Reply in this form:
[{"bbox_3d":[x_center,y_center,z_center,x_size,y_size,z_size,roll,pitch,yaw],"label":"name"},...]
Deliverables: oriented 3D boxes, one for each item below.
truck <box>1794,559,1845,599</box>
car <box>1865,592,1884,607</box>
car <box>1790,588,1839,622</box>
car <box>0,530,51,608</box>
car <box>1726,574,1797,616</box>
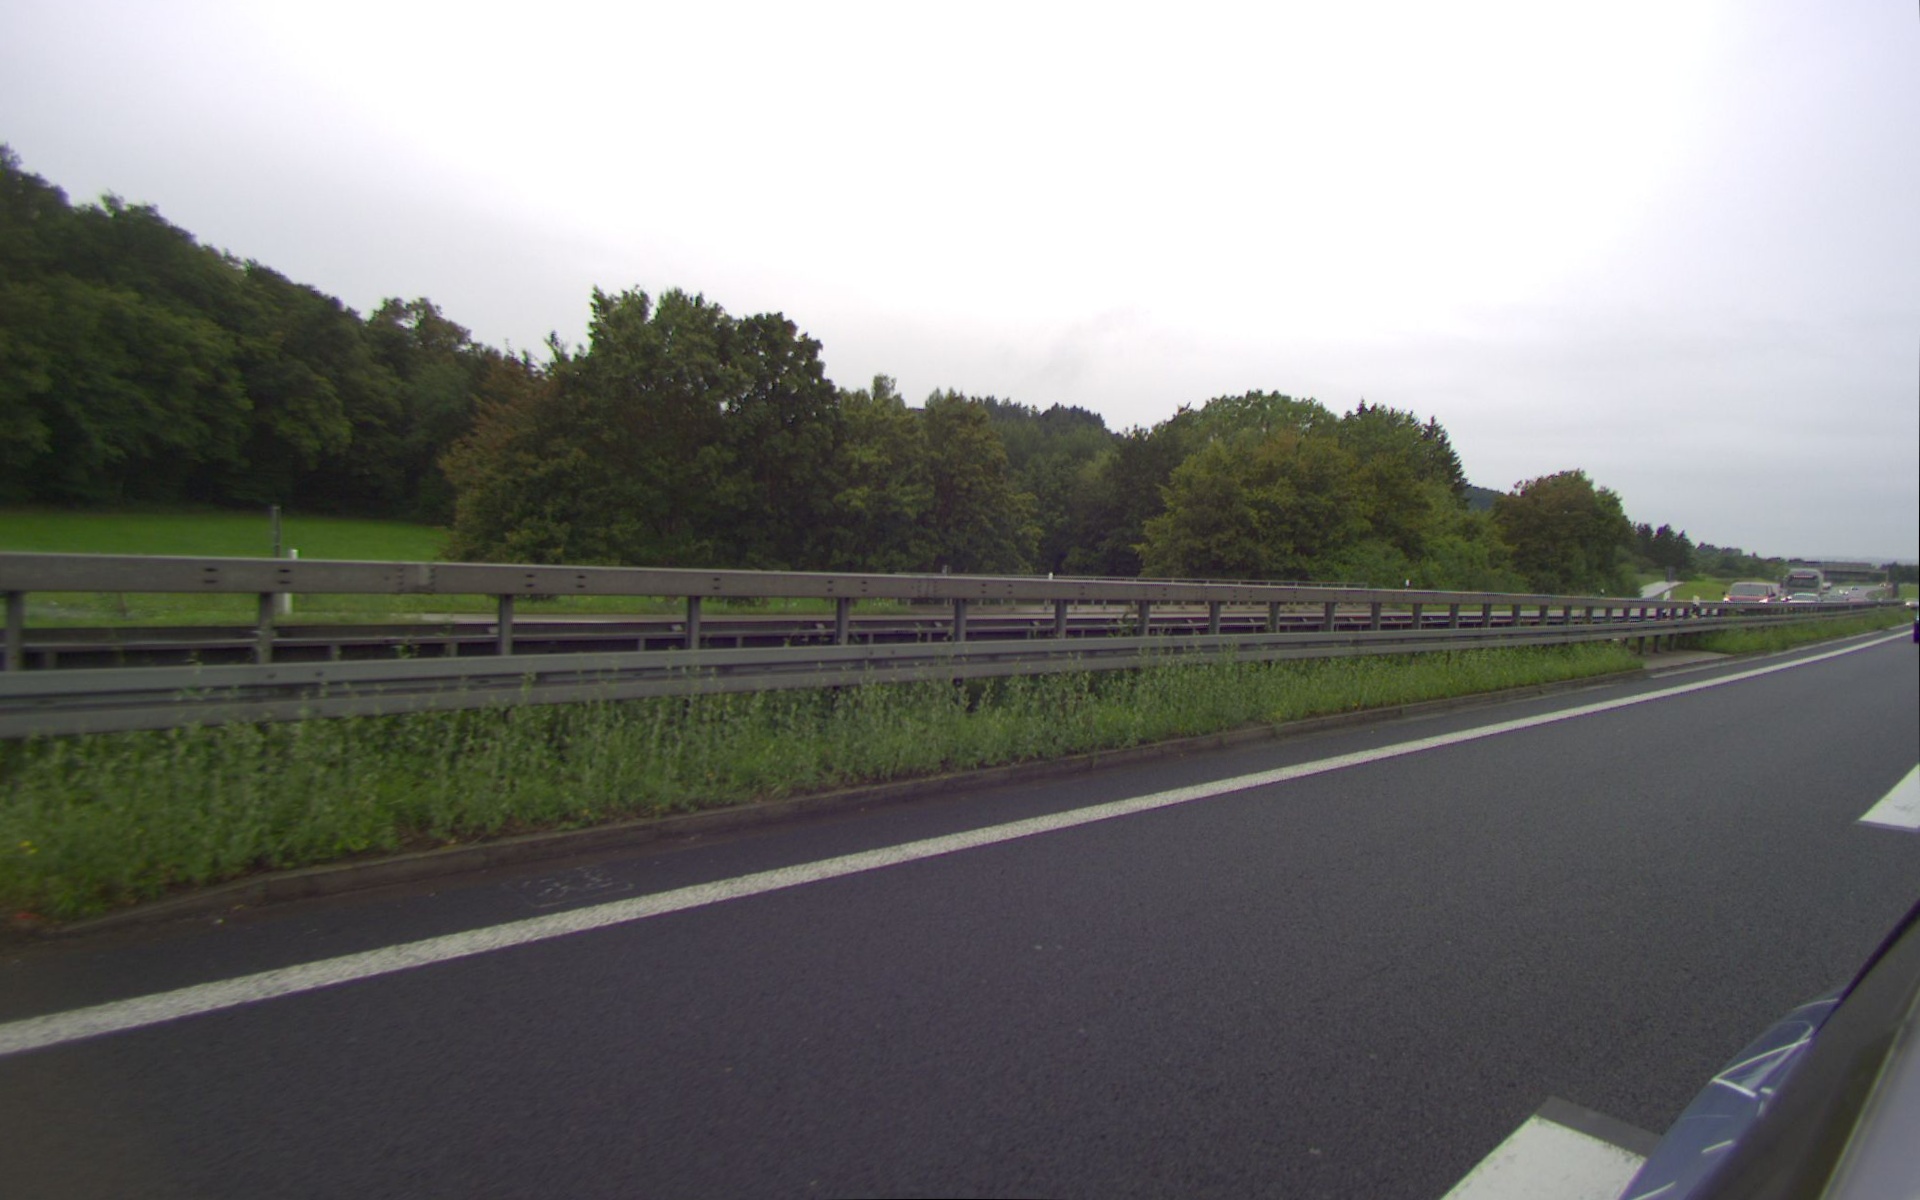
[{"bbox_3d":[88.297,-2.141,103.903,9.859,3.949,2.795,-1,2,-43],"label":"truck"},{"bbox_3d":[124.474,-0.078,137.806,1.746,2.038,4.431,2,2,41],"label":"car"},{"bbox_3d":[53.550,0.284,63.402,4.422,2.038,1.750,-1,2,-42],"label":"car"},{"bbox_3d":[-20.473,-0.620,19.058,4.610,1.473,1.910,0,2,-17],"label":"car"},{"bbox_3d":[40.955,-0.280,51.666,4.993,2.038,2.127,-1,2,-44],"label":"car"}]
